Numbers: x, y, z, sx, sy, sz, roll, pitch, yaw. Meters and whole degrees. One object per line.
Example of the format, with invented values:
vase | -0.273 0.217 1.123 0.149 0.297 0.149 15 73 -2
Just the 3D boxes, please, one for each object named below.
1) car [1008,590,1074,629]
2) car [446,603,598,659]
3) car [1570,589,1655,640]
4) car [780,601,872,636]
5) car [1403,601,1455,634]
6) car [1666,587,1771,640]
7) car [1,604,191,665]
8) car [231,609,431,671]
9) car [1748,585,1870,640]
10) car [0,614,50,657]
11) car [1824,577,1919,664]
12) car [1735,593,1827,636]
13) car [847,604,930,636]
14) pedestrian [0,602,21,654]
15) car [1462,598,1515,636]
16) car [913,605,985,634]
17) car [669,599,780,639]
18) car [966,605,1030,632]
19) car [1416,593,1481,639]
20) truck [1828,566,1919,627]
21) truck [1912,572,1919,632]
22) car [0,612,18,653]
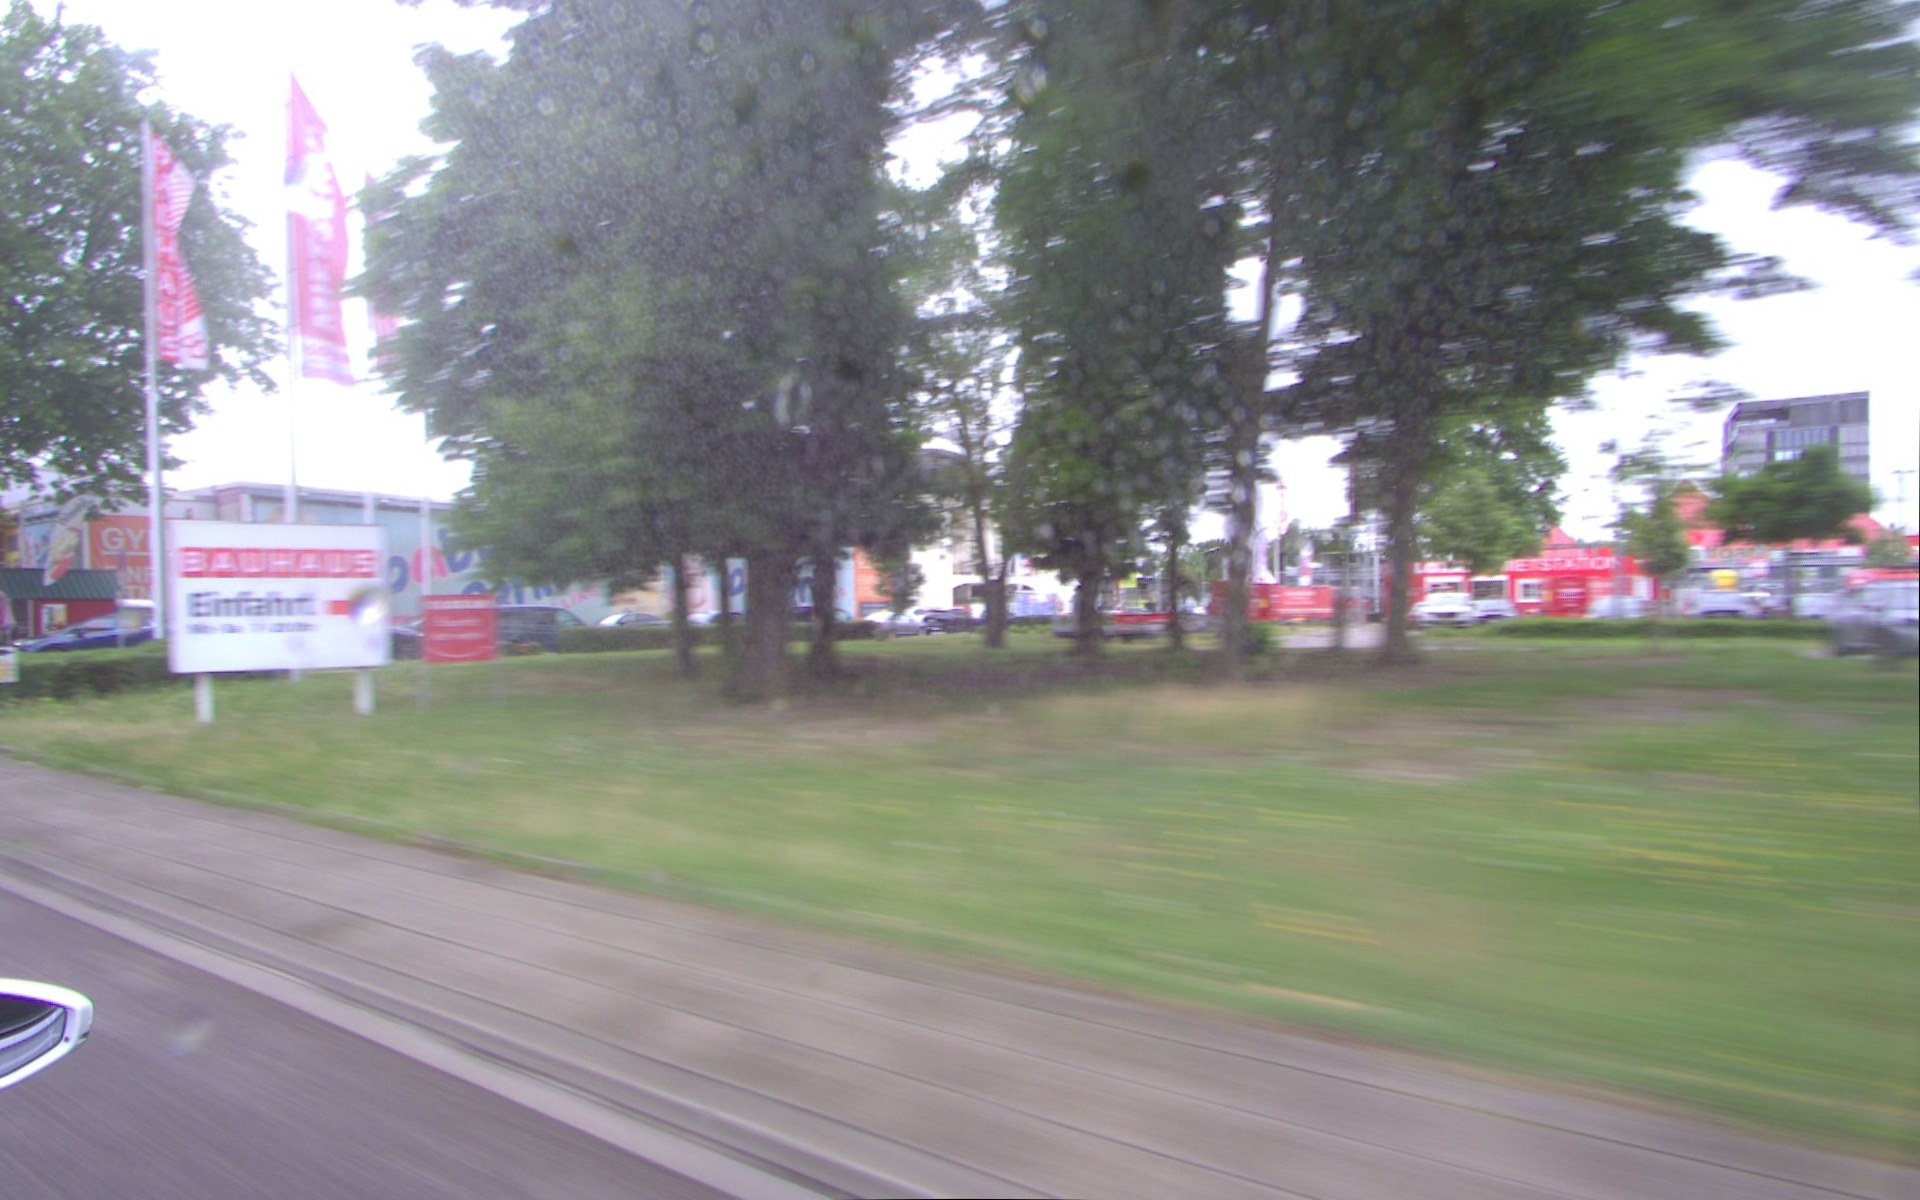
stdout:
car | 5.613 0.613 68.486 2.044 2.571 5.729 -1 0 32
car | -15.197 1.015 34.990 2.044 1.814 4.543 0 0 32
car | 23.353 0.476 35.988 2.122 1.699 4.549 -1 0 28
car | -6.475 0.890 48.890 2.044 1.592 4.542 -1 0 33
car | 23.492 0.849 50.091 2.122 1.576 4.548 -1 0 28
car | 25.922 0.442 34.379 2.122 1.699 4.549 -1 0 28
car | -26.599 1.006 30.936 1.969 1.699 4.193 -1 0 40
car | -18.295 1.111 29.352 1.964 1.592 4.542 -1 0 32
car | 28.042 0.395 33.256 2.122 1.699 4.549 -1 0 28
car | -36.445 1.334 36.738 1.763 1.572 4.206 -1 0 30
car | 18.402 0.416 19.108 1.930 1.516 4.528 -1 -2 28
car | 34.409 0.586 42.107 2.122 1.699 4.548 -1 0 28
car | -3.740 1.025 53.158 2.044 1.592 4.542 -1 0 33
pedestrian | -32.179 0.926 33.702 0.589 1.728 0.678 0 1 31
car | 25.220 0.788 47.743 2.122 1.699 4.548 -1 0 28
car | -0.578 1.106 58.054 2.044 1.592 4.542 -1 0 33
car | -10.154 0.786 43.448 2.044 1.592 4.542 -1 0 33
car | 2.421 1.158 63.172 2.044 1.592 4.542 -1 0 33
car | 19.028 0.580 38.921 2.122 1.699 4.549 -1 0 28
truck | 43.754 -0.189 47.456 2.447 2.670 7.847 -1 0 30
truck | 45.431 0.105 44.669 2.447 2.853 7.847 -1 0 30
car | -38.446 1.263 37.532 1.763 1.572 4.206 -1 0 30
